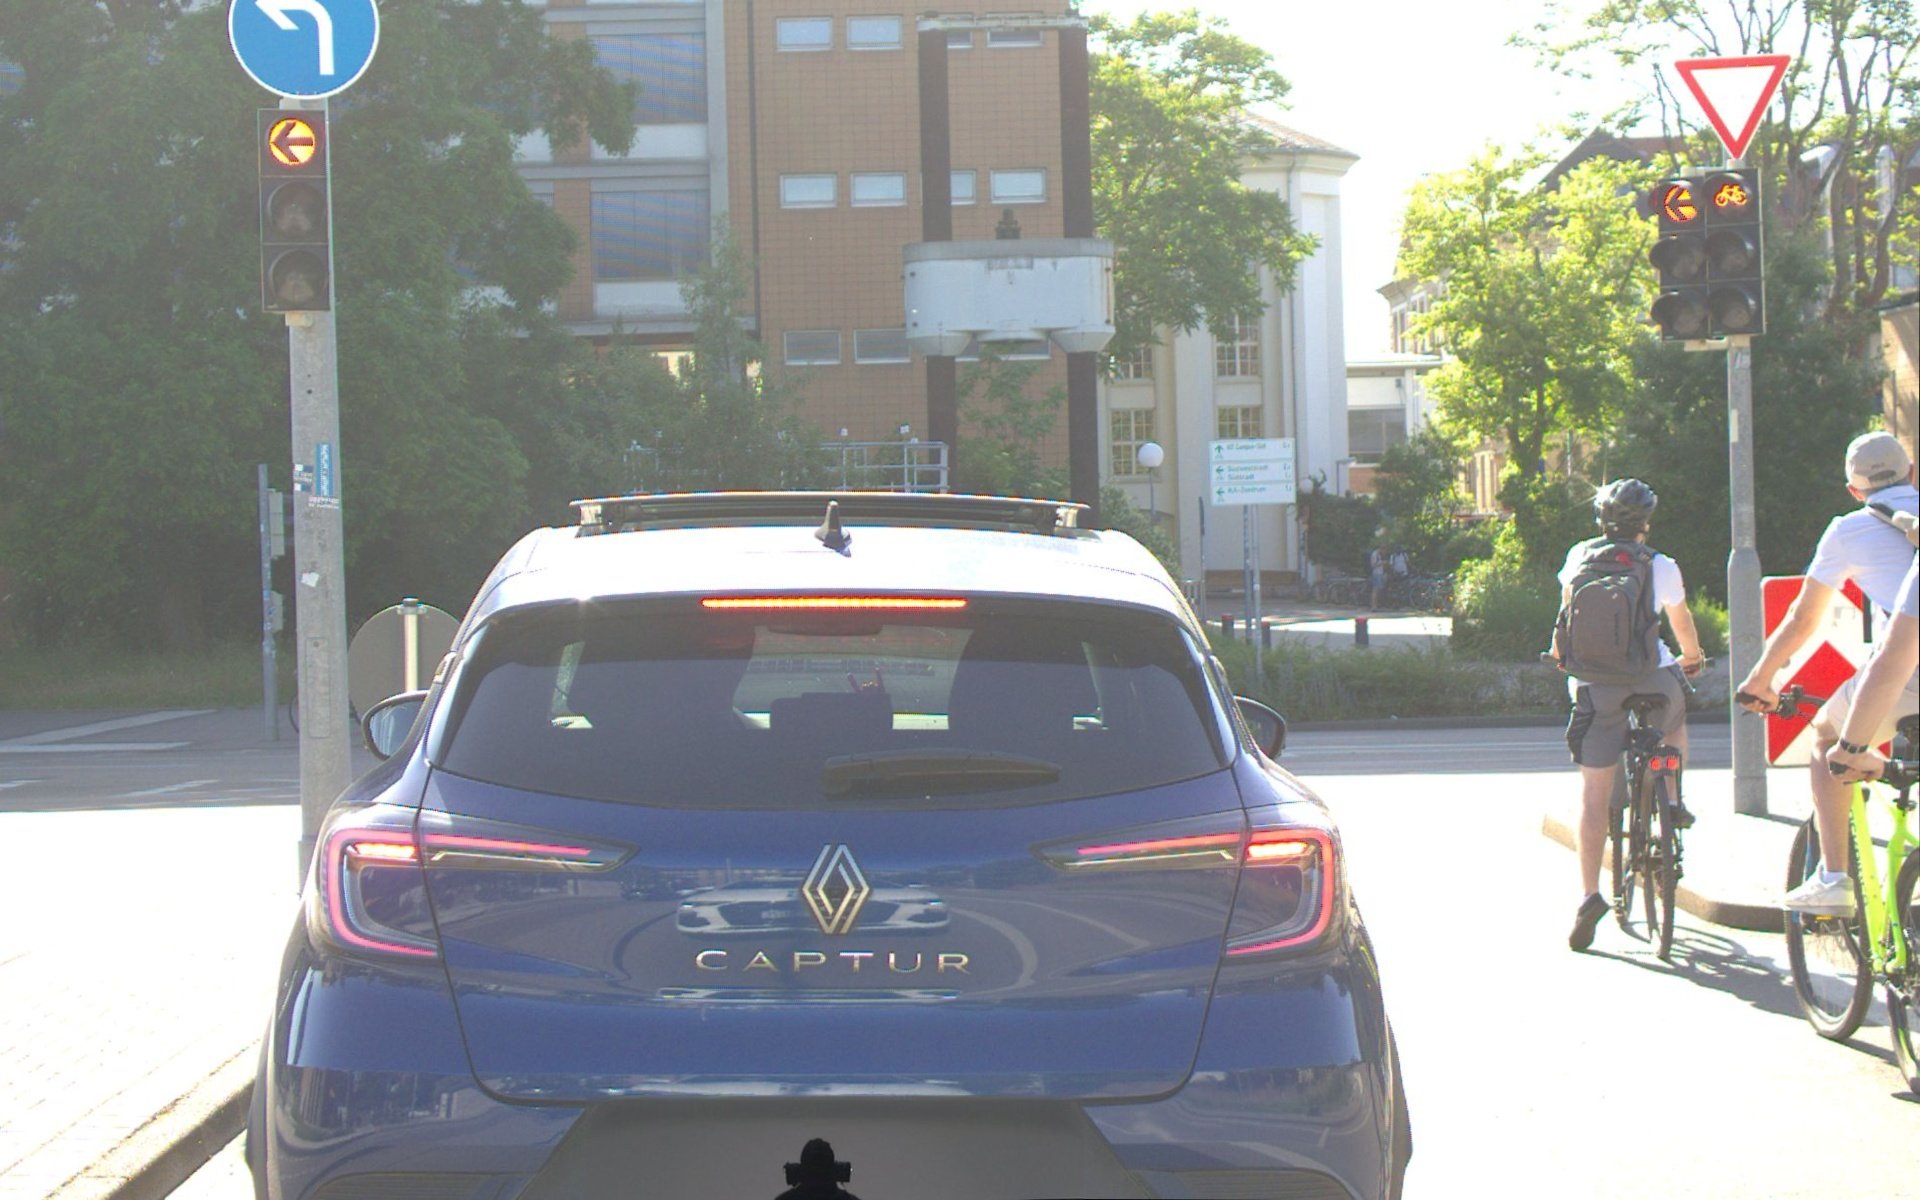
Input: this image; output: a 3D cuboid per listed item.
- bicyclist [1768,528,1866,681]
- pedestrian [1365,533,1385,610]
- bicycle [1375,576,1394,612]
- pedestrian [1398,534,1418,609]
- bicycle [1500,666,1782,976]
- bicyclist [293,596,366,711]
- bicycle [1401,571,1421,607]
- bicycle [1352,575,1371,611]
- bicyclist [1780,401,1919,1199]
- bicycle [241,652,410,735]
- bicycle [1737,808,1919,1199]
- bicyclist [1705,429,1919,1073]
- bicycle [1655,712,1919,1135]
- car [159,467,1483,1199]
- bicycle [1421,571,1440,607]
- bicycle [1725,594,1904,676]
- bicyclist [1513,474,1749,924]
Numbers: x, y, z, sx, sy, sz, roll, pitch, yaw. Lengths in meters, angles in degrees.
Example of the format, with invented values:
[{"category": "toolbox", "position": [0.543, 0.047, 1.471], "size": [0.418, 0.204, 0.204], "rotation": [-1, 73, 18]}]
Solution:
[{"category": "bicyclist", "position": [10.620, 0.052, 42.625], "size": [1.102, 1.861, 0.652], "rotation": [-1, 1, 10]}, {"category": "pedestrian", "position": [10.984, -0.758, 91.048], "size": [0.475, 2.007, 0.523], "rotation": [-1, 1, 6]}, {"category": "bicycle", "position": [11.617, -0.176, 94.042], "size": [0.405, 0.969, 1.683], "rotation": [1, 1, 4]}, {"category": "pedestrian", "position": [12.041, -0.757, 92.400], "size": [0.475, 2.007, 0.468], "rotation": [-1, 1, 6]}, {"category": "bicycle", "position": [2.513, 0.780, 12.907], "size": [0.739, 0.992, 2.173], "rotation": [1, 1, 3]}, {"category": "bicyclist", "position": [-8.031, 0.670, 43.793], "size": [0.737, 1.436, 0.598], "rotation": [-1, 1, -27]}, {"category": "bicycle", "position": [12.385, -0.312, 94.408], "size": [0.405, 0.969, 1.683], "rotation": [1, 1, 4]}, {"category": "bicycle", "position": [10.995, -0.185, 94.086], "size": [0.405, 0.969, 1.683], "rotation": [1, 1, 4]}, {"category": "bicyclist", "position": [2.234, 0.442, 7.251], "size": [0.751, 1.663, 1.016], "rotation": [1, 0, 1]}, {"category": "bicycle", "position": [-8.078, 1.184, 43.775], "size": [2.005, 0.961, 0.598], "rotation": [-2, 1, -27]}, {"category": "bicycle", "position": [2.230, 0.961, 7.262], "size": [0.740, 0.893, 1.978], "rotation": [1, 1, 1]}, {"category": "bicyclist", "position": [2.625, 0.406, 9.816], "size": [0.645, 1.733, 1.067], "rotation": [1, 0, -6]}, {"category": "bicycle", "position": [2.614, 0.865, 9.827], "size": [0.659, 0.999, 1.970], "rotation": [1, 1, -6]}, {"category": "car", "position": [-0.266, 0.613, 6.702], "size": [1.803, 1.626, 4.000], "rotation": [0, 1, -2]}, {"category": "bicycle", "position": [12.920, -0.305, 94.422], "size": [0.405, 0.969, 1.683], "rotation": [1, 1, 4]}, {"category": "bicycle", "position": [10.575, 0.435, 42.602], "size": [2.082, 0.927, 0.696], "rotation": [-2, 2, 10]}, {"category": "bicyclist", "position": [2.510, 0.354, 12.951], "size": [0.726, 1.623, 0.969], "rotation": [1, 0, 4]}]
